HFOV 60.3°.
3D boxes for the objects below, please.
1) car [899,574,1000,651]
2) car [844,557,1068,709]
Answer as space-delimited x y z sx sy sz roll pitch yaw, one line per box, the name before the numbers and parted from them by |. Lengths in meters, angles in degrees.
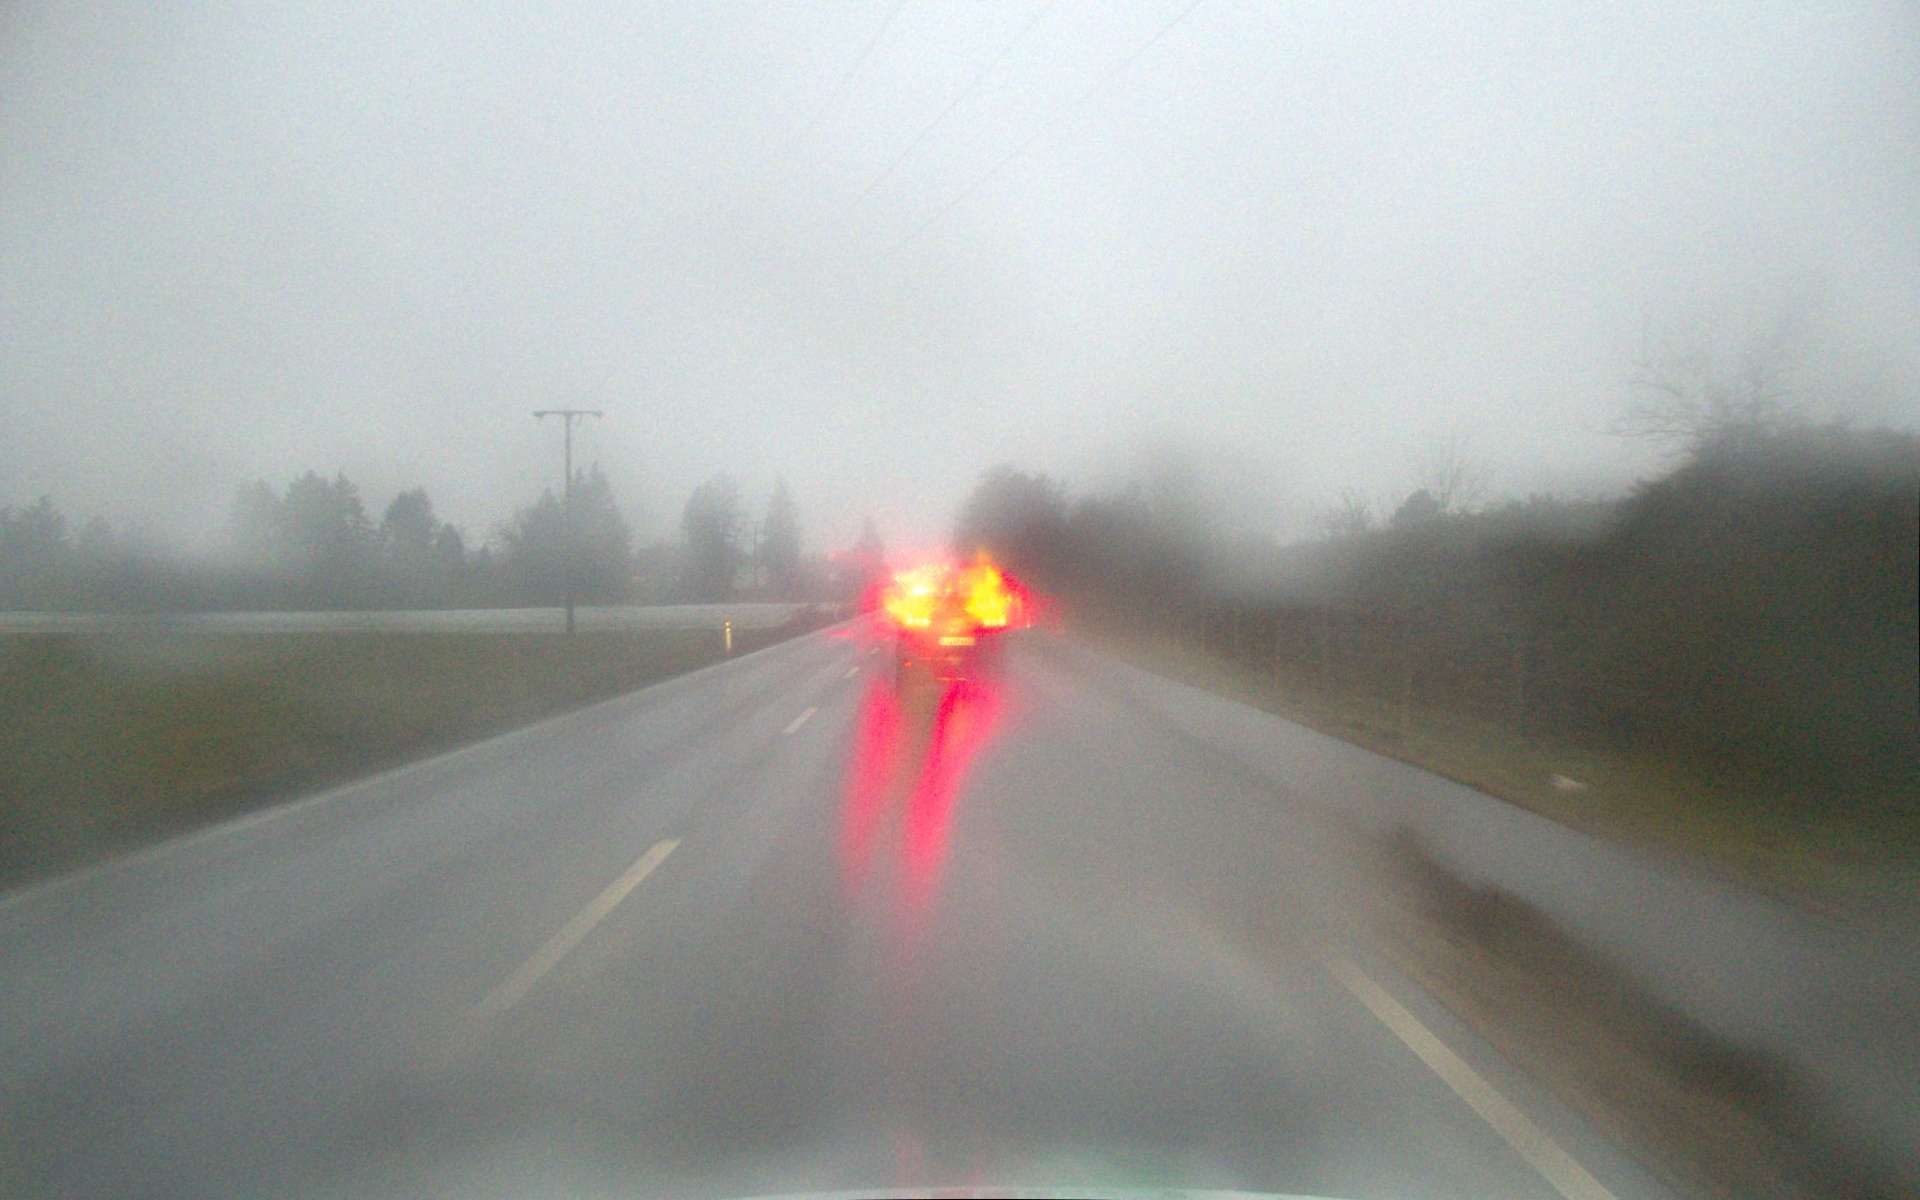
car | -0.295 0.315 48.195 2.699 2.071 6.590 -1 0 0
car | -0.061 0.429 26.493 3.100 2.071 6.851 -1 0 0
